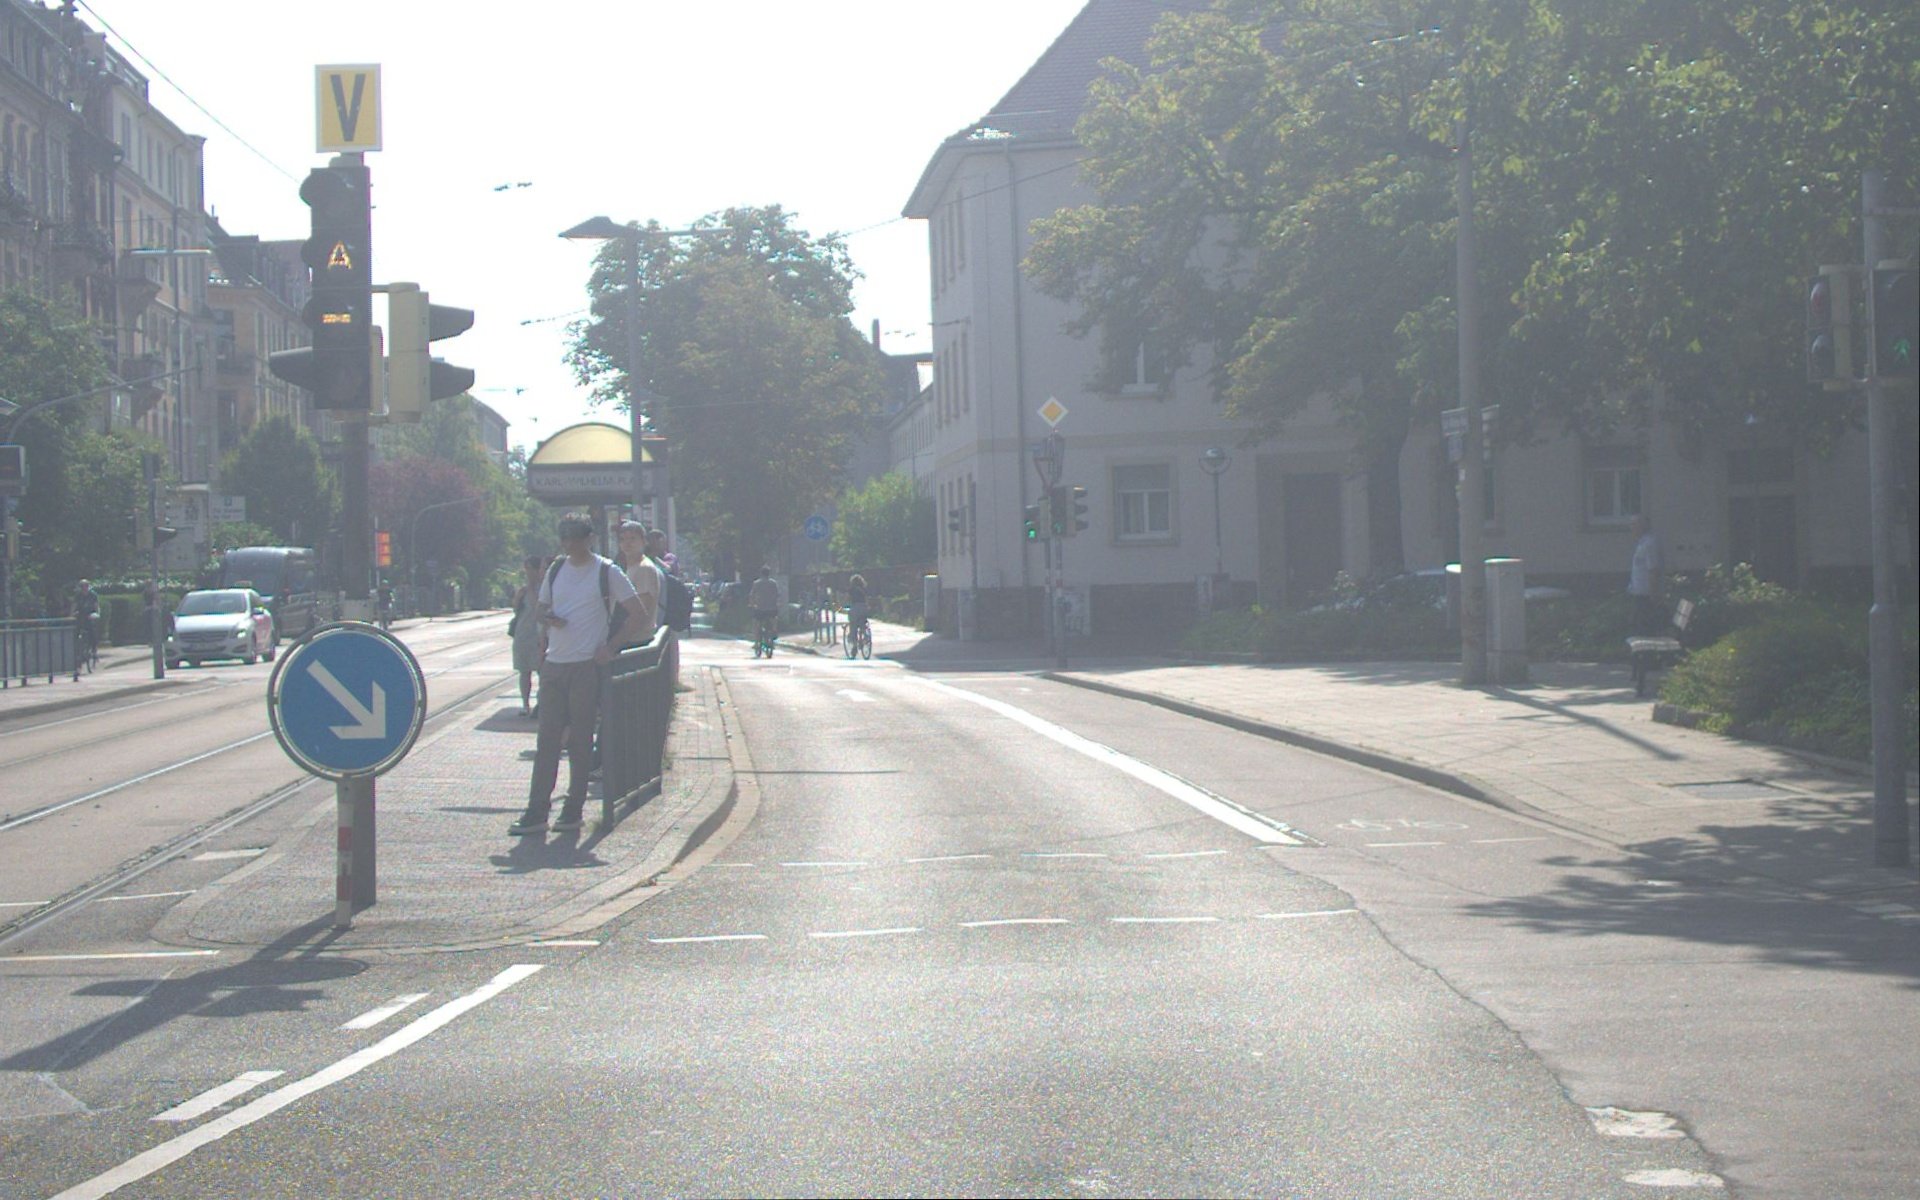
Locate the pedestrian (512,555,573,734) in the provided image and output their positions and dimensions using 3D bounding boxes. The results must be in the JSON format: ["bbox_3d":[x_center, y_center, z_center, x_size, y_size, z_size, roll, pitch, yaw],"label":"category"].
[{"bbox_3d":[-4.170,0.437,34.367,0.532,1.753,0.545,1,3,-2],"label":"pedestrian"}]

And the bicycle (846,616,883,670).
[{"bbox_3d":[-1.812,0.814,65.301,0.558,0.974,1.856,-2,1,-5],"label":"bicycle"}]

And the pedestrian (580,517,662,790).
[{"bbox_3d":[-2.315,0.358,23.509,0.504,1.827,0.534,1,3,-4],"label":"pedestrian"}]

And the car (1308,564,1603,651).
[{"bbox_3d":[8.114,0.124,56.452,4.330,1.316,1.996,-1,1,35],"label":"car"}]

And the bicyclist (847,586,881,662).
[{"bbox_3d":[-1.830,0.447,65.311,0.558,1.412,0.872,-2,1,-5],"label":"bicyclist"}]

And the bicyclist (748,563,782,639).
[{"bbox_3d":[-3.912,0.023,68.948,0.629,1.502,0.679,-2,1,-5],"label":"bicyclist"}]

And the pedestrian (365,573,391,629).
[{"bbox_3d":[-18.319,0.037,108.201,0.749,1.725,0.772,-1,0,-12],"label":"pedestrian"}]

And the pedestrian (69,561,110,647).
[{"bbox_3d":[-17.756,0.073,70.118,0.749,1.725,0.772,-1,0,-12],"label":"pedestrian"}]

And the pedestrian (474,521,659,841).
[{"bbox_3d":[-2.201,0.432,19.243,0.701,1.719,0.747,3,3,29],"label":"pedestrian"}]

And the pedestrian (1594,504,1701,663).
[{"bbox_3d":[7.624,-0.181,38.124,0.893,1.734,0.775,-1,0,34],"label":"pedestrian"}]

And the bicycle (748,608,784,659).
[{"bbox_3d":[-3.901,0.668,68.955,0.629,0.974,1.770,-2,1,-5],"label":"bicycle"}]

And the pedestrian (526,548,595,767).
[{"bbox_3d":[-3.274,0.463,28.169,0.504,1.753,0.534,1,3,-4],"label":"pedestrian"}]

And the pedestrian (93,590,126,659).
[{"bbox_3d":[-21.596,0.629,87.344,0.749,1.725,0.772,-1,0,-12],"label":"pedestrian"}]

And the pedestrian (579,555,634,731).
[{"bbox_3d":[-3.596,0.435,34.979,0.504,1.753,0.534,1,3,-4],"label":"pedestrian"}]

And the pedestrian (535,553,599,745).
[{"bbox_3d":[-3.676,0.452,32.163,0.543,1.753,0.534,1,3,-4],"label":"pedestrian"}]

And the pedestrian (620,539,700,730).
[{"bbox_3d":[-2.826,0.318,32.396,0.709,1.753,0.534,1,3,-3],"label":"pedestrian"}]

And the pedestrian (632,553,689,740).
[{"bbox_3d":[-2.876,0.441,33.013,0.504,1.753,0.534,1,3,-4],"label":"pedestrian"}]

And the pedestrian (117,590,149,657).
[{"bbox_3d":[-21.643,0.615,89.947,0.749,1.725,0.772,-1,0,-12],"label":"pedestrian"}]

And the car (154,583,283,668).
[{"bbox_3d":[-15.150,0.495,70.389,1.801,1.648,3.642,-1,0,0],"label":"car"}]
